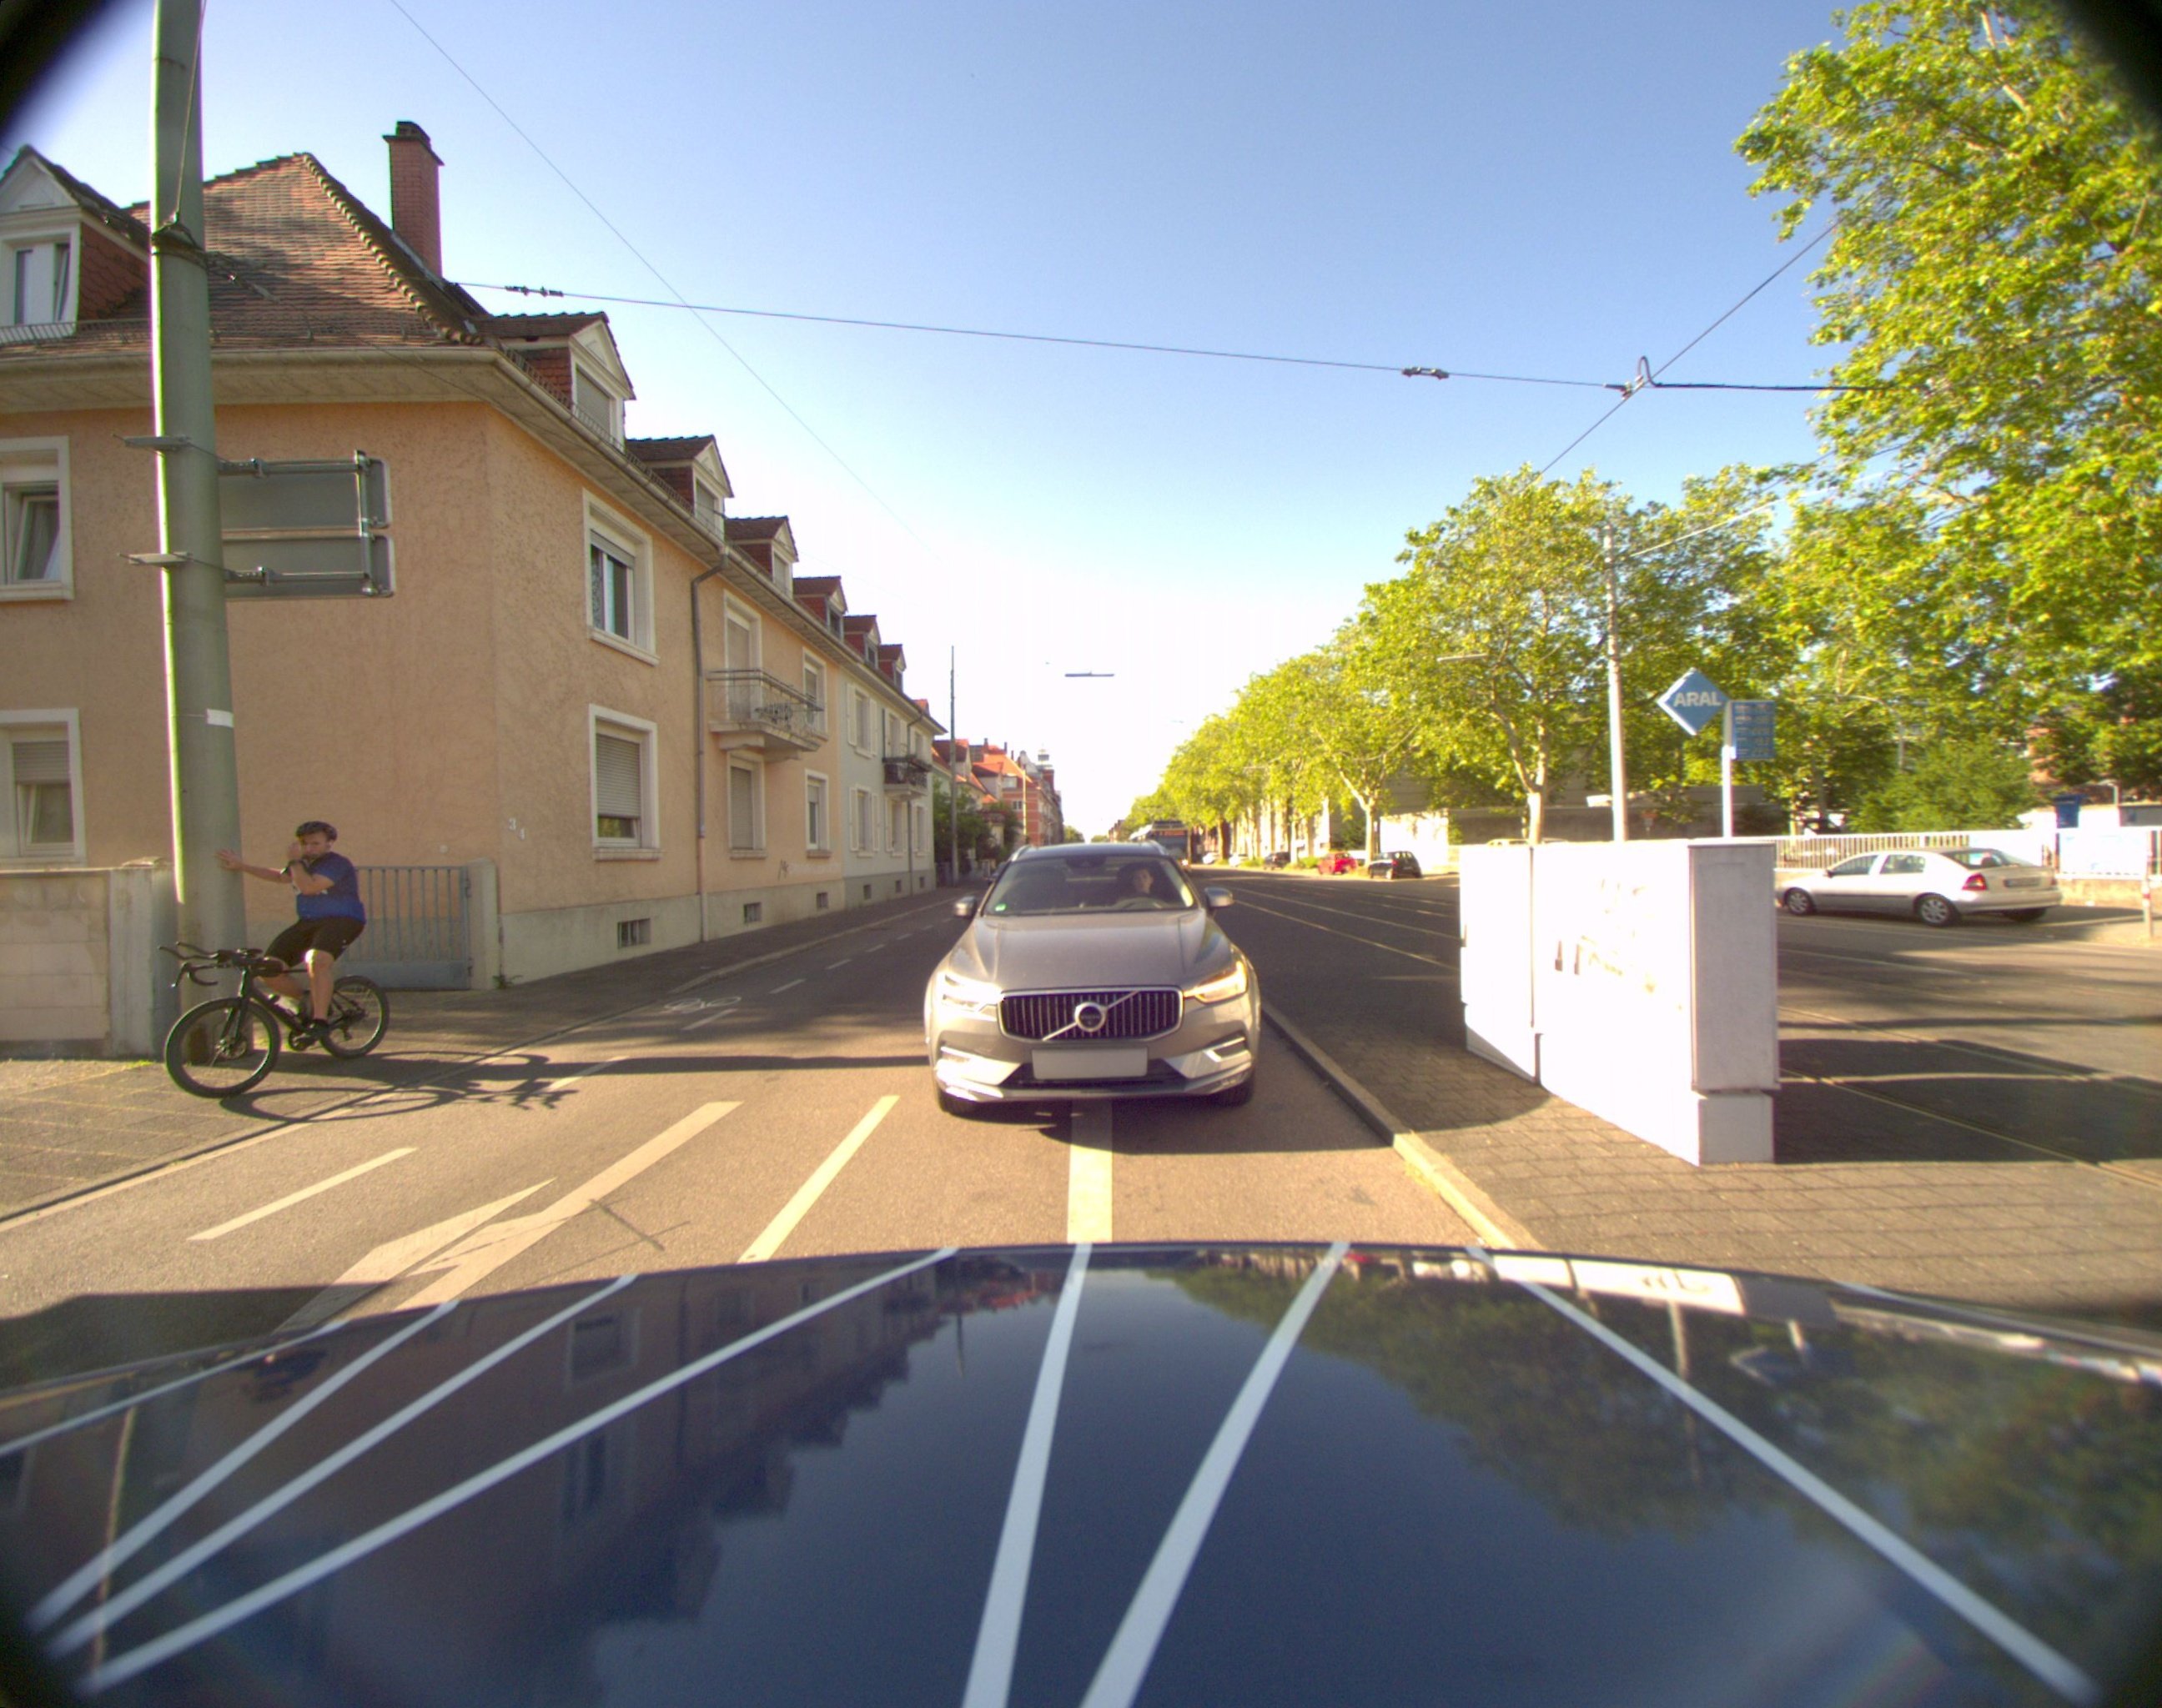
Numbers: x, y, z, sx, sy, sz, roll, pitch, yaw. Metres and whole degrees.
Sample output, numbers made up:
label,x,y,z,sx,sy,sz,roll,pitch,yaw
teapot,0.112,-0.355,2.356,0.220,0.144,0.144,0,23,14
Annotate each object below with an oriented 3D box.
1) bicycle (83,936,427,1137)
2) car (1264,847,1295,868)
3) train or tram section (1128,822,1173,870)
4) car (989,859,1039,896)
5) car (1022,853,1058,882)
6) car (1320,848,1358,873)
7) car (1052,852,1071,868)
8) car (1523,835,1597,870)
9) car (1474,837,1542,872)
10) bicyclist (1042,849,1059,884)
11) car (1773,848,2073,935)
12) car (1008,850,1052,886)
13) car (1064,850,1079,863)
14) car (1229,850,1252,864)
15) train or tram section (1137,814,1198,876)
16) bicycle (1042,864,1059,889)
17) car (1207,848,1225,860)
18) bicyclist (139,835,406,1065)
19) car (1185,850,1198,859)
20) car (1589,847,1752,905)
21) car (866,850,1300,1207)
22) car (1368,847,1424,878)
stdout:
label,x,y,z,sx,sy,sz,roll,pitch,yaw
bicycle,-6.028,1.258,5.730,0.592,1.062,1.775,4,0,1
car,17.154,0.269,65.899,1.695,1.648,3.749,-3,0,1
train or tram section,5.704,-0.631,64.554,2.717,3.643,12.653,-1,0,0
car,-3.210,1.080,37.060,1.695,1.571,3.815,-3,0,5
car,-2.571,0.850,48.498,1.793,1.673,3.814,-3,0,2
car,16.891,0.431,49.877,1.599,1.498,2.622,-3,0,1
car,-2.132,0.629,85.382,1.793,1.673,3.814,-3,0,2
car,23.892,-0.085,38.035,1.599,1.583,3.304,-2,0,1
car,21.559,0.011,38.483,1.599,1.606,3.304,-2,0,1
bicyclist,-1.454,0.585,35.925,0.685,1.611,0.855,-2,1,1
car,16.235,0.638,14.992,1.695,1.395,3.813,-3,0,1
car,-2.811,0.738,42.833,1.793,1.828,5.149,-3,0,2
car,-1.272,0.358,107.115,1.793,1.673,3.814,-3,0,2
car,17.482,0.287,83.553,1.695,1.440,3.749,-3,0,1
train or tram section,5.649,-0.580,51.925,2.717,3.643,12.653,-1,0,0
bicycle,-1.436,1.050,35.924,0.685,1.098,1.806,-2,1,1
car,17.814,0.020,100.724,1.695,1.440,3.749,-3,0,1
bicyclist,-6.227,0.692,5.921,1.051,1.599,0.885,4,0,1
car,18.223,0.064,125.533,1.695,1.440,3.749,-3,0,1
car,16.421,0.557,21.427,1.695,1.395,3.749,-3,0,1
car,0.038,0.825,5.766,1.998,1.628,4.306,-2,0,1
car,16.898,0.423,40.906,1.599,1.498,3.304,-3,0,1
